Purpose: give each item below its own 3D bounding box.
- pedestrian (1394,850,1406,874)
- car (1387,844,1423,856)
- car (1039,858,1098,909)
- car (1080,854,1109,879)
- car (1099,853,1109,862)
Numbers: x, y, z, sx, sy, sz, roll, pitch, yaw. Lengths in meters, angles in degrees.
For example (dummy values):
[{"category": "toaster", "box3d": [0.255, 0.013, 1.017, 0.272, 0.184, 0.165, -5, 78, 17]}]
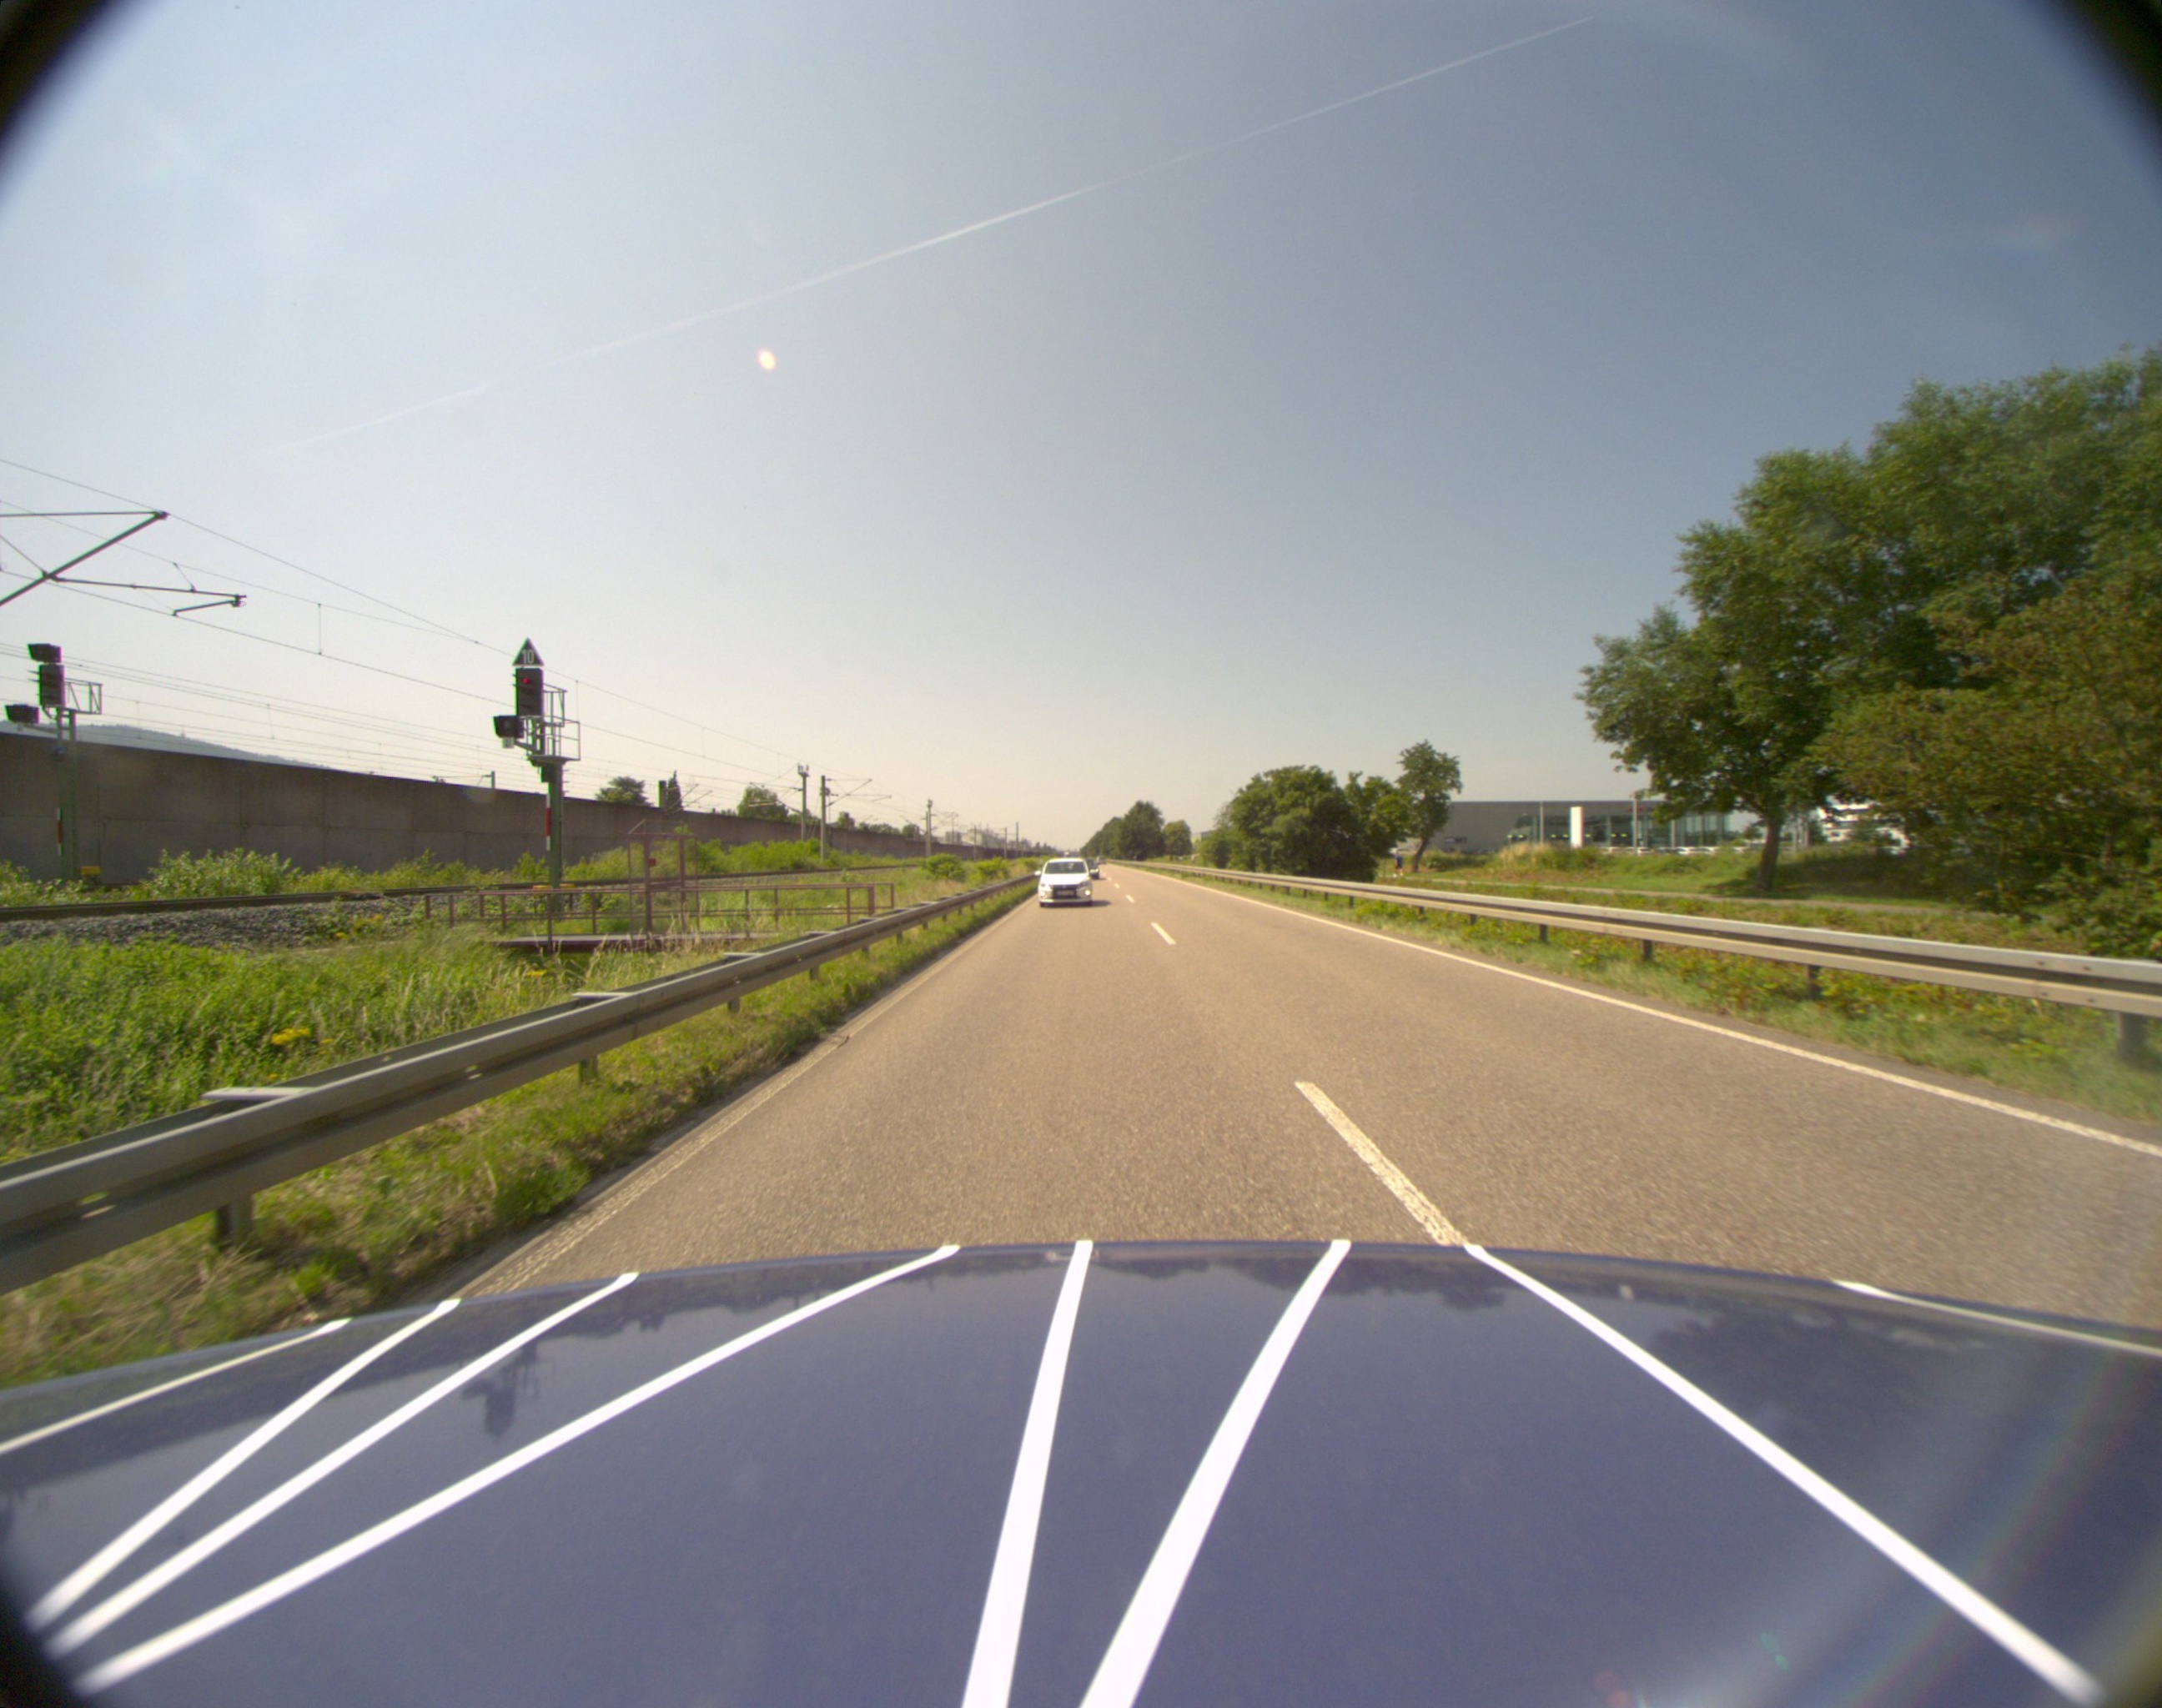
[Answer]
[{"category": "pedestrian", "box3d": [23.147, 0.568, 55.169, 0.580, 1.740, 0.821, 1, 1, 5]}, {"category": "car", "box3d": [43.615, -0.533, 102.409, 4.239, 1.428, 1.623, 1, 0, -7]}, {"category": "car", "box3d": [-0.420, 0.896, 24.759, 1.701, 1.470, 4.154, -1, 0, -1]}, {"category": "car", "box3d": [0.826, 0.784, 48.713, 1.711, 1.470, 4.154, -1, 0, -1]}, {"category": "car", "box3d": [4.088, 0.603, 137.605, 1.702, 1.466, 4.686, -2, 0, 0]}]
